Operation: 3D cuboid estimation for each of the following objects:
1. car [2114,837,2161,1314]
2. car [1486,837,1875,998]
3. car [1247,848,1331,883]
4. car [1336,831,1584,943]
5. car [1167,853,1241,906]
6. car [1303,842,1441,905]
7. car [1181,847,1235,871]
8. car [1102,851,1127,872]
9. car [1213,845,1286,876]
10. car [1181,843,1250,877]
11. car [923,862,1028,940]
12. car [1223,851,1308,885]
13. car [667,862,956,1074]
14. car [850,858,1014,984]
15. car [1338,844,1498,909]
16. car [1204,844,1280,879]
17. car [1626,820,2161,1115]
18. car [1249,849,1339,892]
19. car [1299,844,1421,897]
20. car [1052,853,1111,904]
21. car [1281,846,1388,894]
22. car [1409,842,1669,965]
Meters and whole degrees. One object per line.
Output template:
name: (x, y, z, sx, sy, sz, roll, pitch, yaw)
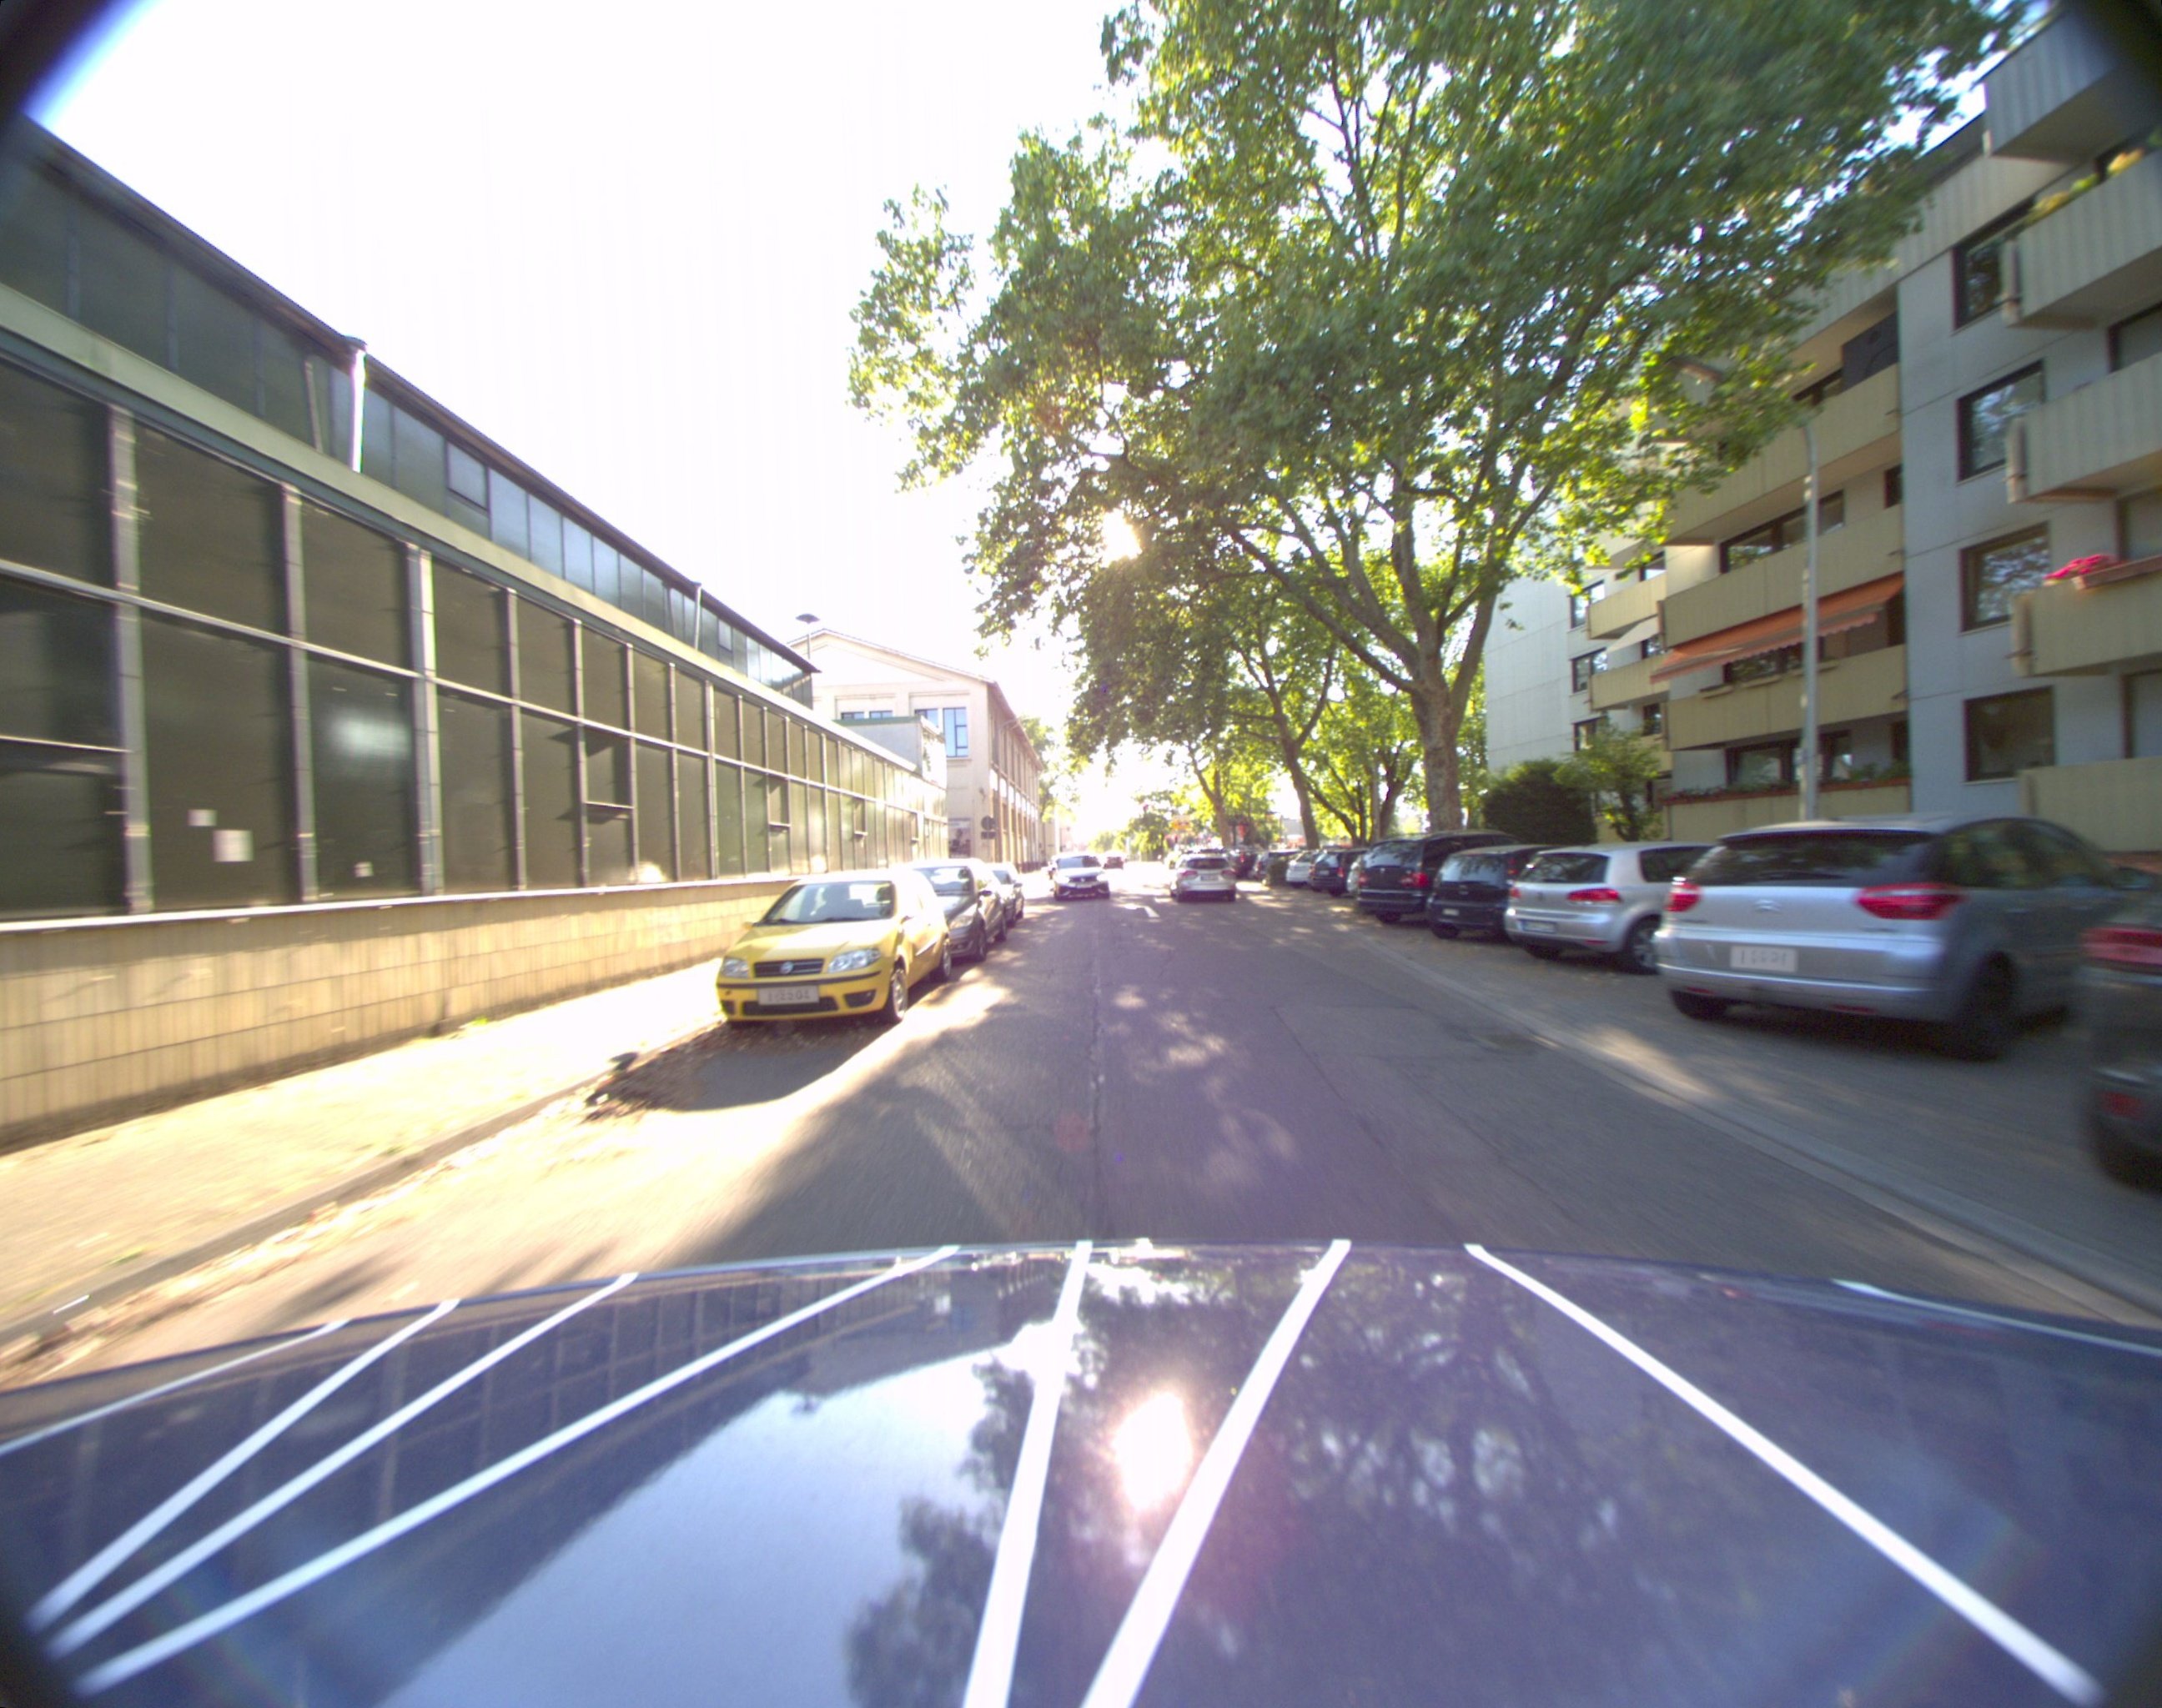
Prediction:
car: (5.866, 0.677, 2.834, 3.964, 1.652, 1.696, -3, 1, -26)
car: (7.214, 0.674, 9.303, 3.650, 1.552, 1.698, -3, 1, -10)
car: (10.324, 0.555, 37.696, 3.653, 1.453, 1.703, -3, 1, -19)
car: (7.391, 0.563, 14.835, 4.273, 1.765, 1.903, -3, 1, -22)
car: (3.853, 0.743, 24.491, 1.904, 1.527, 4.622, 0, 0, 4)
car: (8.904, 0.554, 23.296, 3.652, 1.652, 1.648, -3, 1, -17)
car: (9.846, 0.364, 58.824, 4.006, 1.633, 1.713, -3, 1, -33)
car: (2.769, 0.589, 63.370, 1.965, 1.633, 4.000, -3, 1, 1)
car: (9.486, 0.360, 42.734, 3.602, 1.552, 1.648, -3, 1, -17)
car: (8.531, 0.376, 48.152, 4.004, 1.875, 1.714, -3, 1, -25)
car: (-2.379, 1.018, 18.339, 1.905, 1.485, 4.528, -3, 1, -1)
car: (9.788, 0.704, 40.394, 4.001, 1.615, 1.796, -2, 1, -13)
car: (-2.610, 0.991, 8.450, 1.755, 1.625, 4.000, -3, 1, -1)
car: (-2.295, 0.959, 12.877, 1.755, 1.625, 4.309, -3, 1, 1)
car: (9.181, 0.593, 20.782, 3.663, 1.485, 1.774, -3, 0, -17)
car: (9.665, 0.433, 45.586, 4.002, 1.871, 1.831, -3, 1, -15)
car: (6.706, 0.650, 6.147, 4.143, 1.631, 1.774, -3, 1, -23)
car: (9.535, 0.710, 34.020, 3.654, 1.652, 1.647, -3, 1, -25)
car: (9.653, 0.543, 26.315, 3.652, 1.552, 1.648, -3, 1, -17)
car: (-0.023, 0.807, 27.064, 1.854, 1.527, 3.856, -4, 1, -1)
car: (9.709, 0.586, 29.076, 3.654, 1.551, 1.706, -3, 1, -26)
car: (7.274, 0.684, 12.072, 3.654, 1.551, 1.697, -3, 1, -24)
